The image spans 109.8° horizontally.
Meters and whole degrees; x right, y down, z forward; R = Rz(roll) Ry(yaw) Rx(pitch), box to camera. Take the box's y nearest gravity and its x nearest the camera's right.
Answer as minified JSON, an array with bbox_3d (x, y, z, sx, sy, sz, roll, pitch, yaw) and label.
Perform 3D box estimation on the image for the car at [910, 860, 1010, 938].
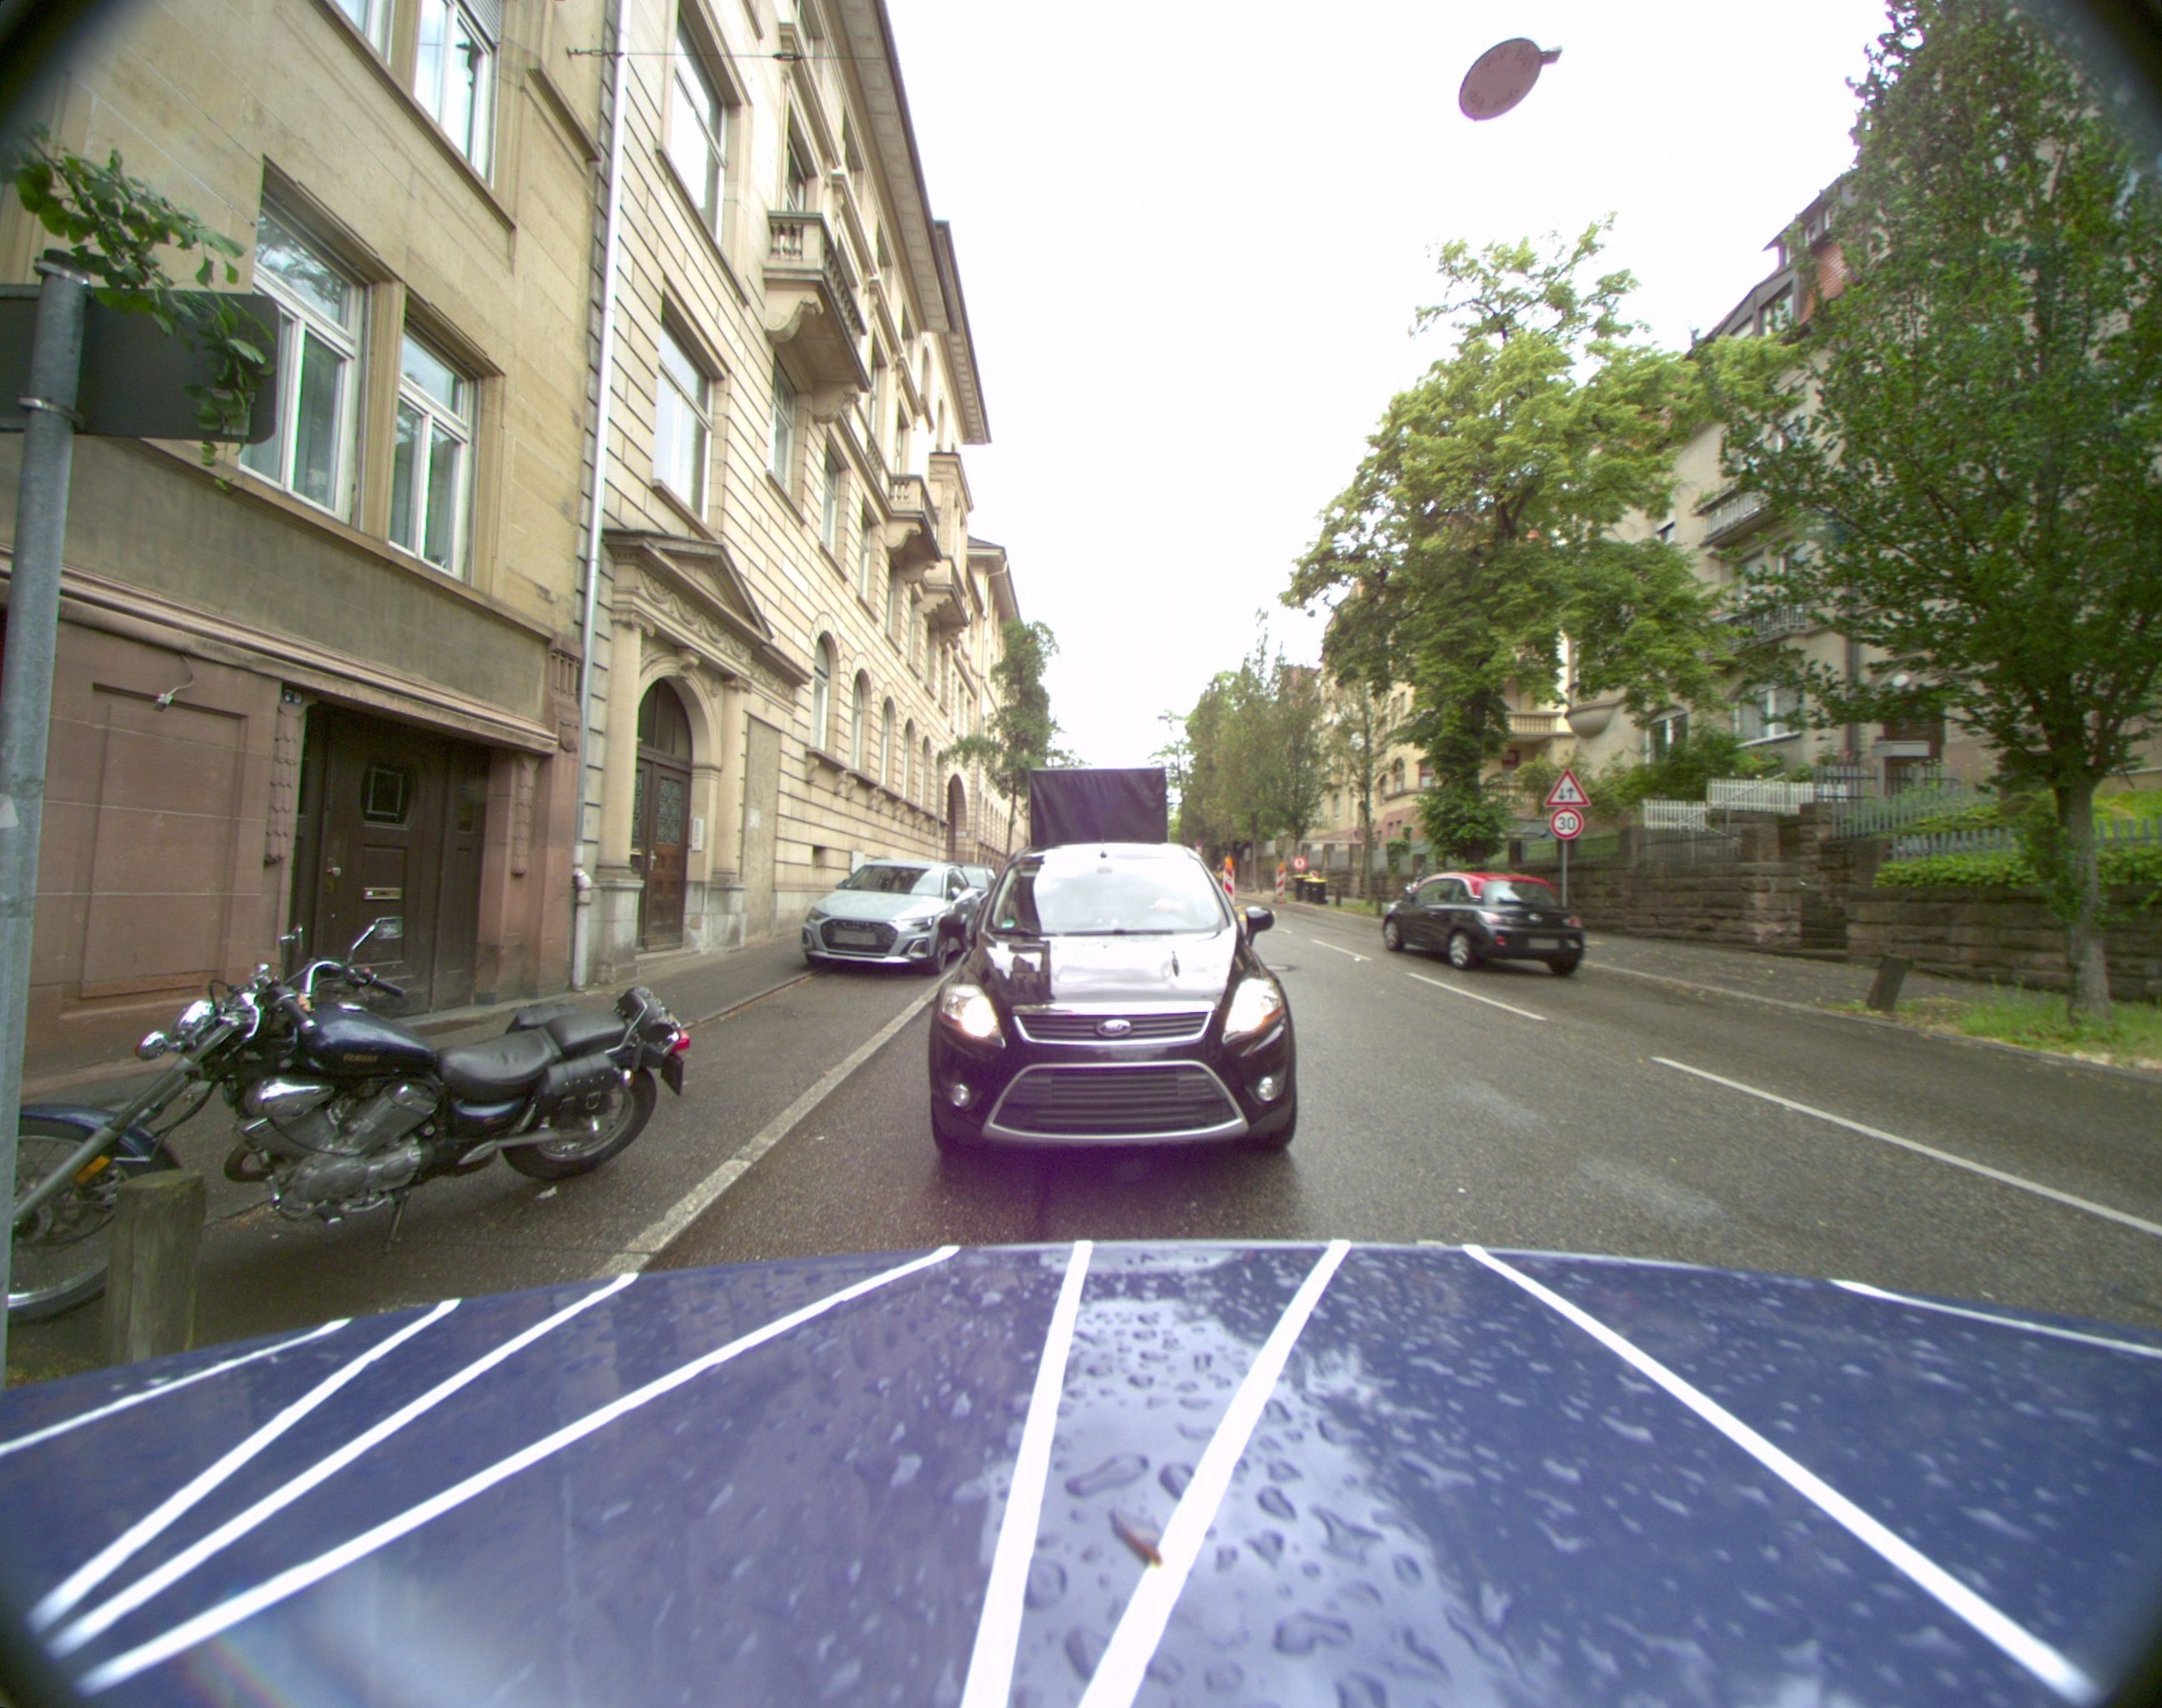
[{"bbox_3d":[-2.513,0.890,16.440,1.495,1.440,3.181,3,0,1],"label":"car"}]

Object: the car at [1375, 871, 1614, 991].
[{"bbox_3d":[6.279,1.086,12.063,1.670,1.463,3.656,3,0,-1],"label":"car"}]

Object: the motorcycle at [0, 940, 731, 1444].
[{"bbox_3d":[-2.586,1.002,2.808,0.523,1.236,2.282,3,-1,39],"label":"motorcycle"}]

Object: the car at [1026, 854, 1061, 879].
[{"bbox_3d":[-2.421,0.792,50.471,1.910,1.502,4.318,3,0,1],"label":"car"}]

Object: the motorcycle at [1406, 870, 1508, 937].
[{"bbox_3d":[8.899,1.116,18.211,0.802,1.406,3.061,-2,0,-2],"label":"motorcycle"}]

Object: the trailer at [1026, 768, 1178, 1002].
[{"bbox_3d":[0.250,0.346,11.353,1.783,2.744,4.816,0,1,0],"label":"trailer"}]

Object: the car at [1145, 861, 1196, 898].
[{"bbox_3d":[4.082,1.130,35.185,1.910,1.502,4.318,1,0,1],"label":"car"}]

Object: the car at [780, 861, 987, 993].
[{"bbox_3d":[-2.598,0.888,11.051,1.794,1.444,4.039,3,0,1],"label":"car"}]

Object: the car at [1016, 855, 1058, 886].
[{"bbox_3d":[-2.387,0.886,42.476,1.910,1.502,4.318,3,0,1],"label":"car"}]

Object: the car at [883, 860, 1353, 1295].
[{"bbox_3d":[0.198,0.887,5.214,1.823,1.662,4.522,0,0,1],"label":"car"}]
